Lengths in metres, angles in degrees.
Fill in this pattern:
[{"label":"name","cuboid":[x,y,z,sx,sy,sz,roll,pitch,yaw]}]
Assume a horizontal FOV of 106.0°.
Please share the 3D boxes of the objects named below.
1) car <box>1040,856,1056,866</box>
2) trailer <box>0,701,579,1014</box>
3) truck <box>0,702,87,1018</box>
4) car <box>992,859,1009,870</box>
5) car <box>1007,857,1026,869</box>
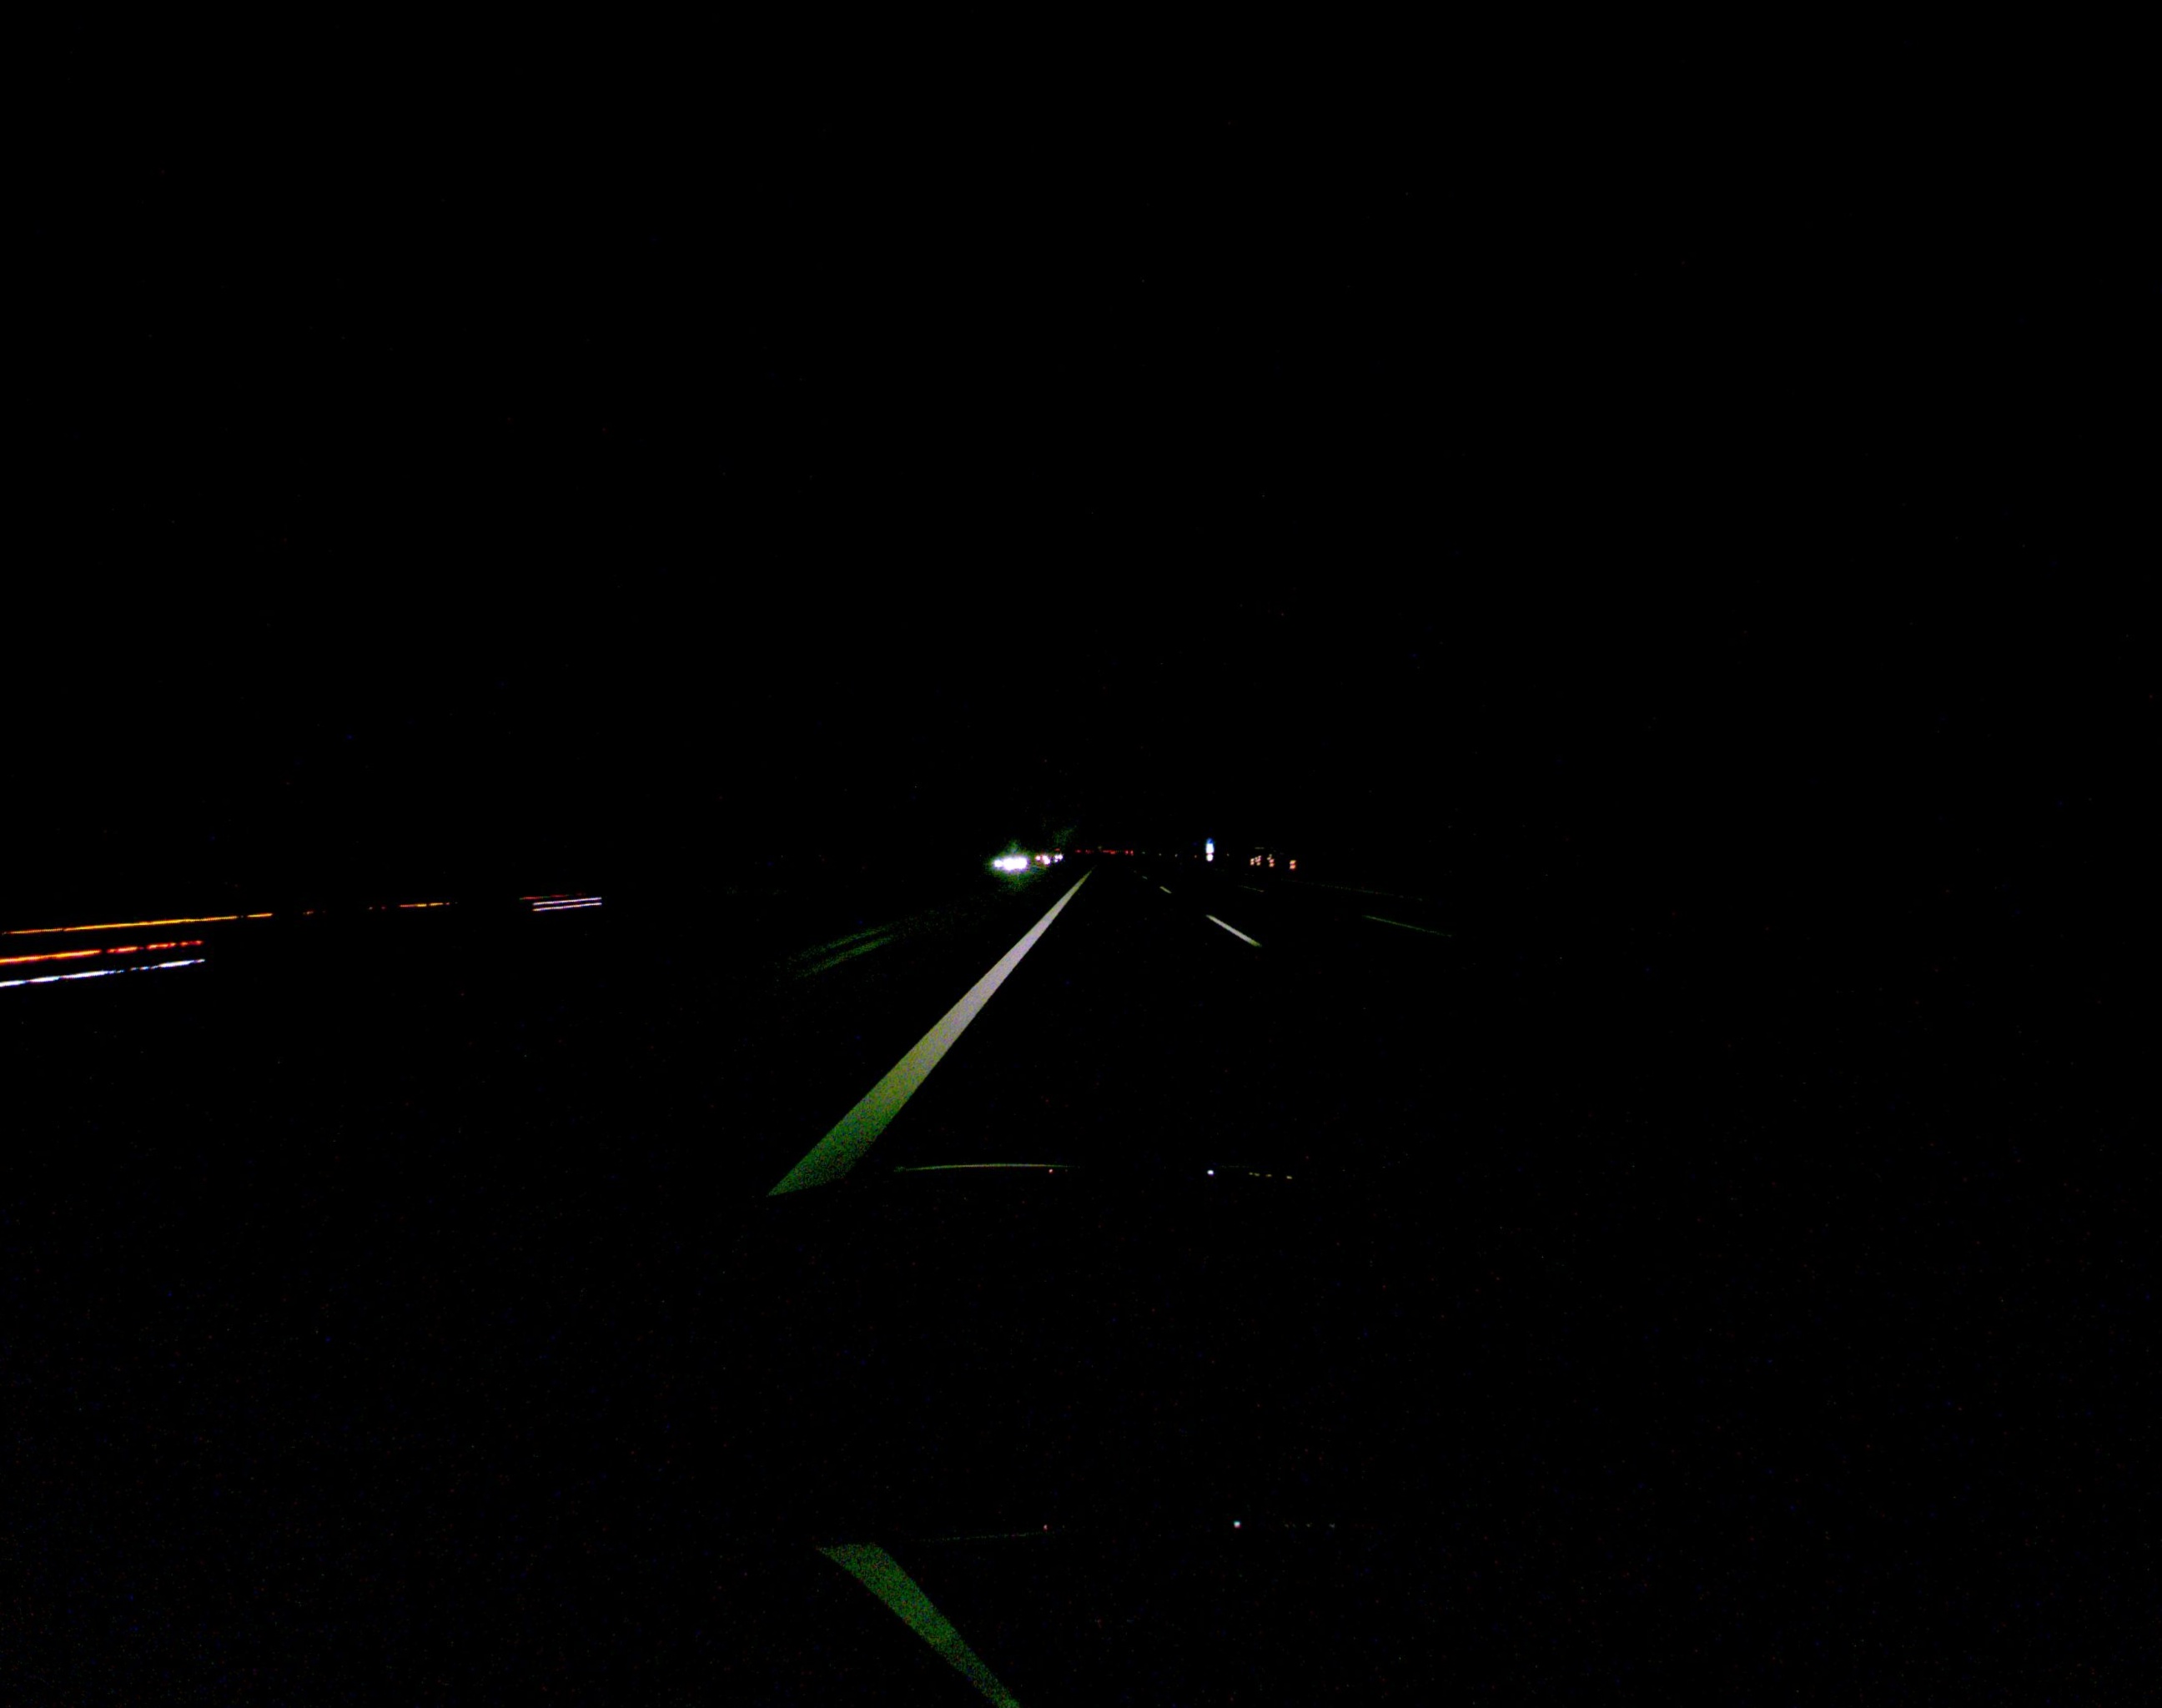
[{"label":"car","cuboid":[-5.298,1.121,131.096,1.986,1.461,4.903,-4,0,2]},{"label":"trailer","cuboid":[-15.684,0.144,15.763,2.850,4.176,13.908,-3,-1,1]},{"label":"truck","cuboid":[-15.808,0.122,8.806,2.744,4.212,5.827,-3,-1,1]},{"label":"car","cuboid":[-12.270,1.537,124.262,1.986,1.485,4.802,-3,0,2]},{"label":"car","cuboid":[-8.905,1.237,112.412,1.986,1.394,5.707,-3,0,1]}]
